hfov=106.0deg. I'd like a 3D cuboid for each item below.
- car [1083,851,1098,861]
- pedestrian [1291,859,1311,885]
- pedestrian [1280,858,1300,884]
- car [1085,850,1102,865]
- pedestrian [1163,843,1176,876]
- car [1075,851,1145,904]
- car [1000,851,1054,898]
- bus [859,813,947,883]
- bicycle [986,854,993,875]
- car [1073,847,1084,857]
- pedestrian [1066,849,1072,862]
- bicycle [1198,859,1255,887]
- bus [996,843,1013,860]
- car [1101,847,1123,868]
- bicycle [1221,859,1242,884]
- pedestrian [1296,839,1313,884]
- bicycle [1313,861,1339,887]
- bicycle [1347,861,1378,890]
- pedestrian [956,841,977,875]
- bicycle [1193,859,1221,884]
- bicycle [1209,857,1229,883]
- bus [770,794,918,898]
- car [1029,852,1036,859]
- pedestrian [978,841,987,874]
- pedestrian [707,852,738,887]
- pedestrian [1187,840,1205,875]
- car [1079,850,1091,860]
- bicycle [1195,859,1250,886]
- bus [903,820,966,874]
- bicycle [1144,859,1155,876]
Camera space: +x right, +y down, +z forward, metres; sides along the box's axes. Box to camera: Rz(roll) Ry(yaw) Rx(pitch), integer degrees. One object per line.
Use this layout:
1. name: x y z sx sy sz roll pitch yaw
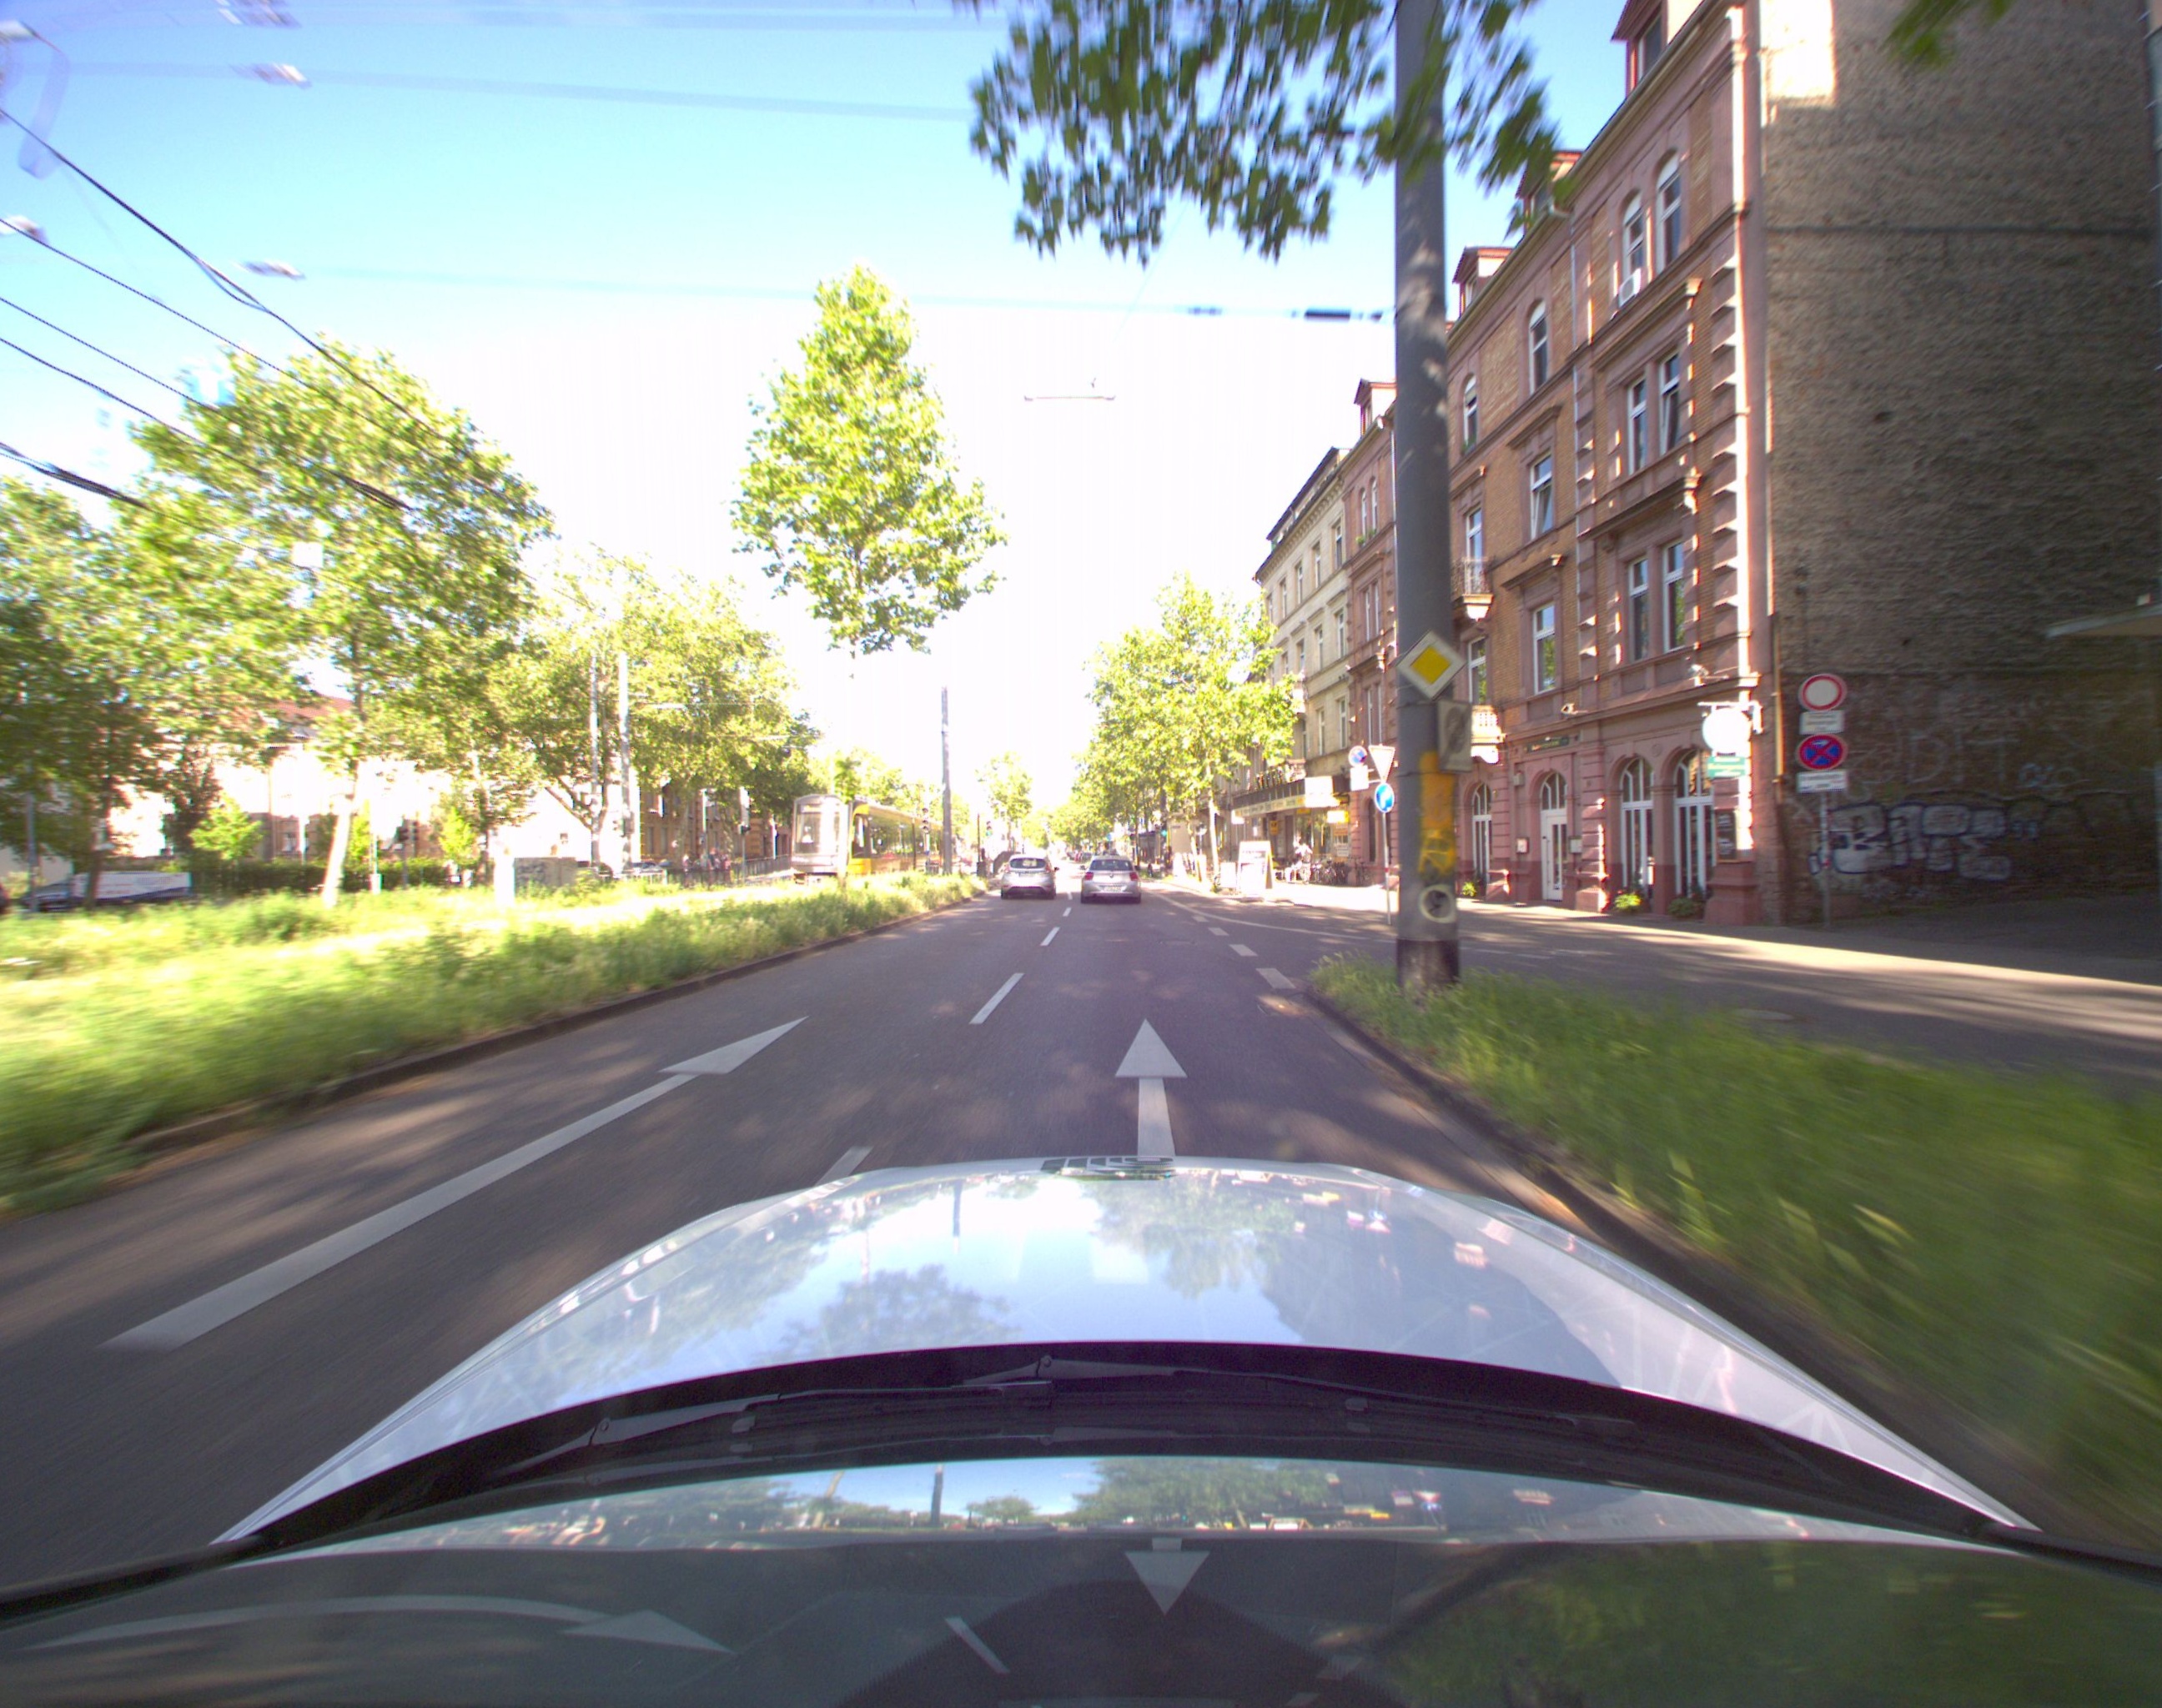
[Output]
1. car: 1.426 0.312 121.819 1.989 1.509 4.592 1 0 -3
2. pedestrian: 10.017 0.804 37.096 0.646 1.161 0.608 1 1 -14
3. pedestrian: 9.654 0.792 37.620 0.776 1.161 0.465 1 1 -29
4. car: 1.397 0.372 95.655 1.688 1.658 4.035 -1 1 -3
5. pedestrian: 4.813 0.296 44.144 0.639 1.771 0.869 1 0 3
6. car: 0.814 0.670 25.114 1.759 1.432 3.995 1 1 -4
7. car: -1.740 0.632 27.039 1.643 1.362 3.756 1 1 -3
8. bus: -9.800 -0.326 46.391 2.862 3.444 12.201 -1 0 -3
9. bicycle: -5.290 0.607 47.111 0.328 1.214 1.823 -1 0 -9
10. car: -0.476 -0.413 152.814 1.720 1.880 3.996 1 0 -3
11. pedestrian: -1.793 0.186 125.263 0.834 2.013 0.649 1 0 3
12. bicycle: 5.390 0.701 30.181 2.000 0.993 0.443 1 0 -6
13. bus: -17.125 -0.631 182.966 2.743 3.625 18.828 -1 1 -3
14. car: 3.027 0.344 80.449 1.751 1.964 4.732 0 1 -3
15. bicycle: 6.310 0.709 34.193 0.442 0.993 1.686 1 1 -4
16. pedestrian: 9.278 0.301 33.811 0.463 1.810 0.779 1 1 28
17. bicycle: 9.918 0.796 33.020 0.442 0.993 1.686 1 1 -4
18. bicycle: 10.364 0.795 30.063 0.442 0.993 1.686 1 1 -4
19. pedestrian: -6.468 0.224 46.023 1.070 1.916 1.125 -1 0 -5
20. bicycle: 5.234 0.711 33.818 0.444 0.993 1.679 1 1 -17
21. bicycle: 5.762 0.658 34.127 0.442 0.993 1.686 1 1 -4
22. bus: -9.202 -0.304 33.760 2.862 3.444 13.202 -1 0 -3
23. car: -15.494 0.539 261.342 1.989 2.013 3.996 1 1 -3
24. pedestrian: -5.684 0.198 46.961 0.450 1.902 0.582 -1 0 -11
25. pedestrian: -16.961 0.735 38.554 1.177 1.643 0.889 -1 0 -11
26. pedestrian: 6.732 0.199 47.709 0.879 2.013 0.856 1 0 0
27. car: 0.565 0.178 126.941 1.665 1.551 3.996 1 1 -3
28. bicycle: 5.324 0.694 30.697 2.011 0.993 0.443 1 0 -6
29. bus: -10.273 -0.450 58.326 2.862 3.444 11.598 -1 0 -3
30. bicycle: 4.026 0.796 48.090 0.427 0.970 1.748 1 1 -3
